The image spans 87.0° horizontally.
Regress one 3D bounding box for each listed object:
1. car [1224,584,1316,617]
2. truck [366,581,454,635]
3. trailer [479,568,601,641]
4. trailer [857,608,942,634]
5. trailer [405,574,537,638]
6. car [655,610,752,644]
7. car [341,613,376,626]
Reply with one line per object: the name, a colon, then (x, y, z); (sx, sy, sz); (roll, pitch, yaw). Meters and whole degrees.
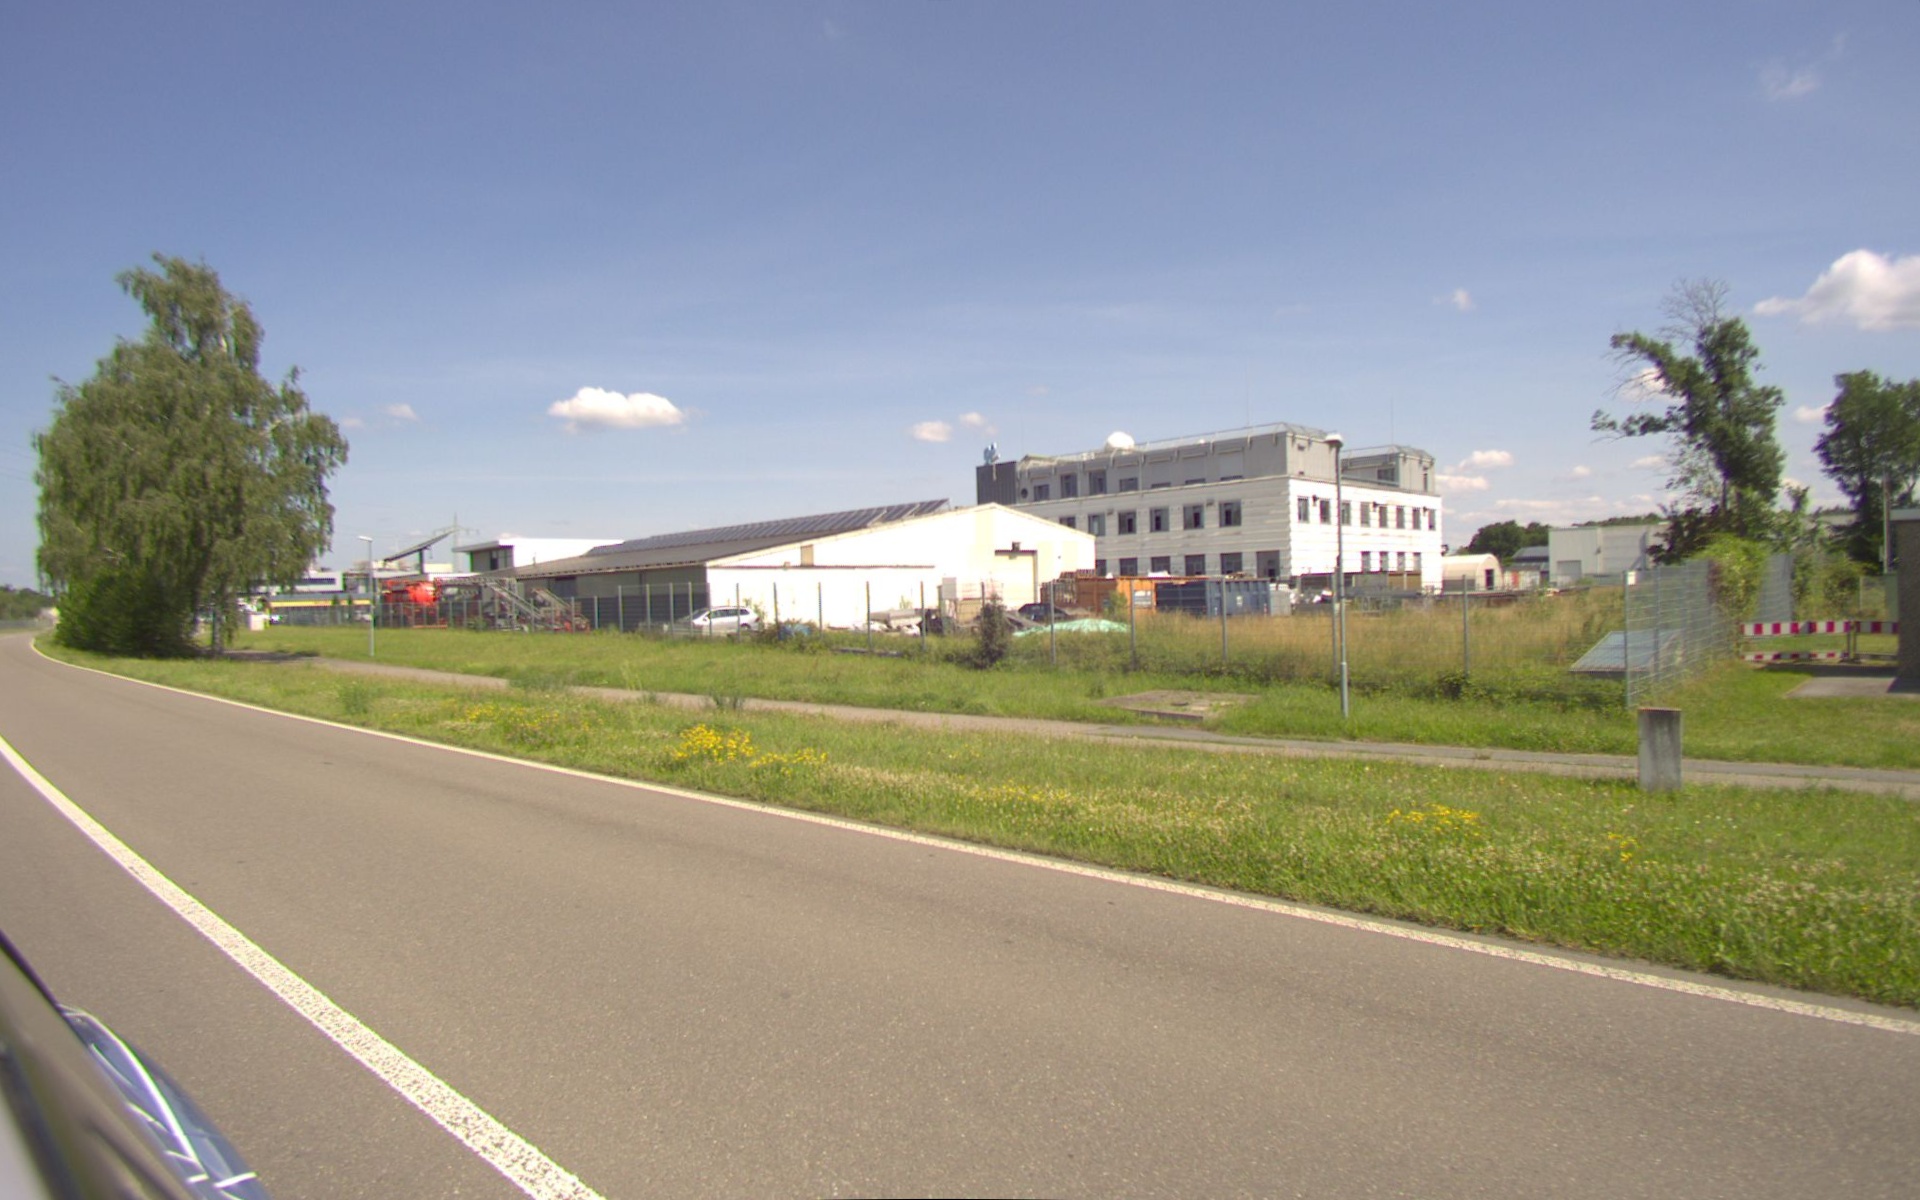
car: (20.153, 0.070, 65.921); (5.529, 2.026, 1.722); (-2, 0, 44)
truck: (-40.024, 0.590, 73.393); (3.064, 3.672, 10.604); (0, -1, -43)
trailer: (-23.183, 0.269, 55.547); (3.359, 3.672, 8.667); (0, -1, -43)
trailer: (-3.009, 1.040, 50.883); (3.940, 1.175, 1.906); (-1, -1, -44)
trailer: (-31.260, 0.423, 64.127); (3.251, 3.672, 14.939); (0, -1, -43)
car: (-11.629, 1.194, 46.013); (3.940, 1.353, 1.749); (-2, 0, -43)
car: (-79.305, 2.566, 133.483); (3.972, 1.663, 1.986); (-1, -1, 22)
